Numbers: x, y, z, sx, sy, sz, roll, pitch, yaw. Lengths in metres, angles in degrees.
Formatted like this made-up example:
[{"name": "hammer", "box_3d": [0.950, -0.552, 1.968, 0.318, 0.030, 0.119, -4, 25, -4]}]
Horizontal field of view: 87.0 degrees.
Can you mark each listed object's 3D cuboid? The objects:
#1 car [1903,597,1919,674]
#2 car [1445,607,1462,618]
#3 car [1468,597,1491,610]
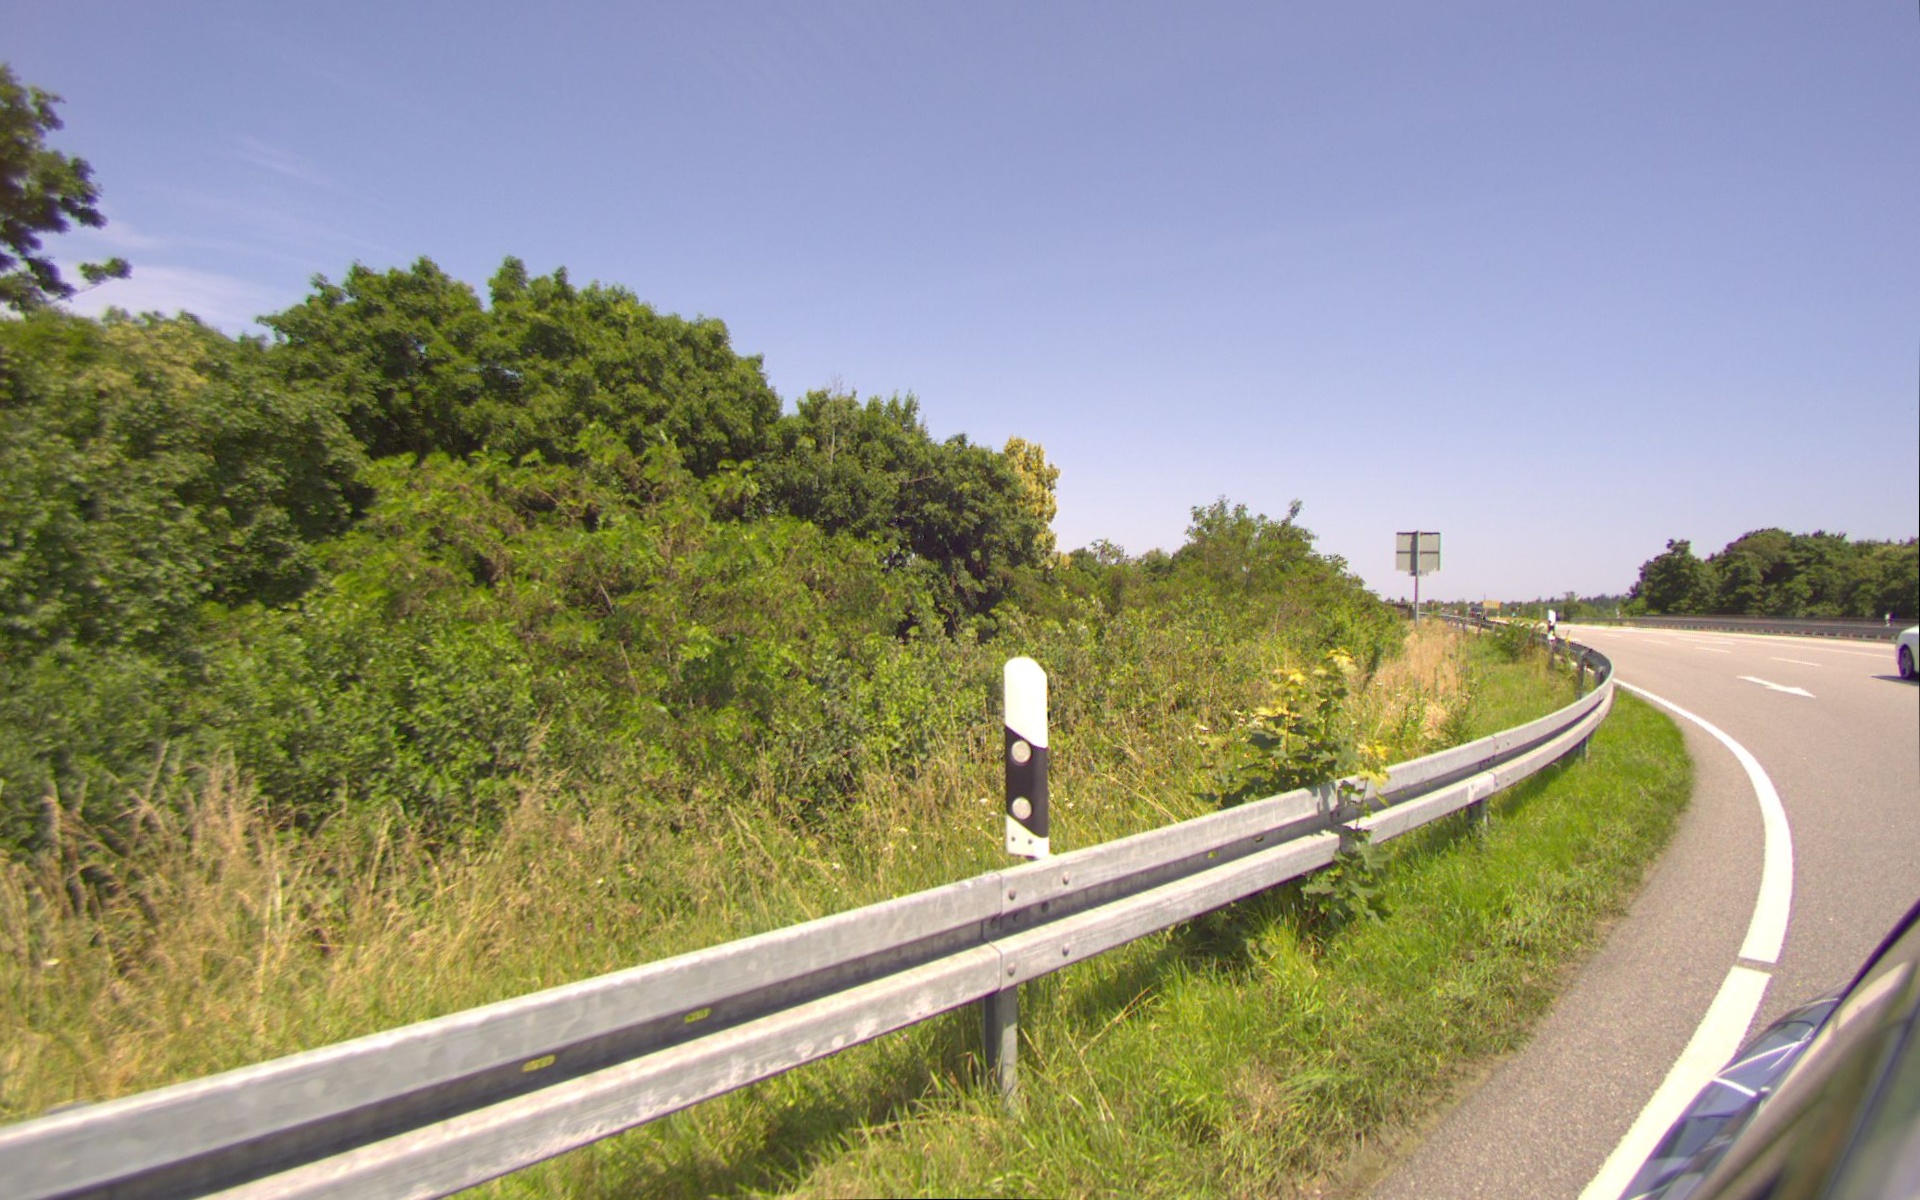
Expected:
[{"name": "car", "box_3d": [18.258, 0.690, 17.375, 1.795, 1.433, 4.076, 0, 1, 24]}, {"name": "car", "box_3d": [72.838, 1.855, 149.398, 1.709, 1.471, 4.760, 3, 1, 21]}, {"name": "car", "box_3d": [59.173, 0.386, 115.343, 1.718, 1.418, 4.353, 3, 1, 19]}]
